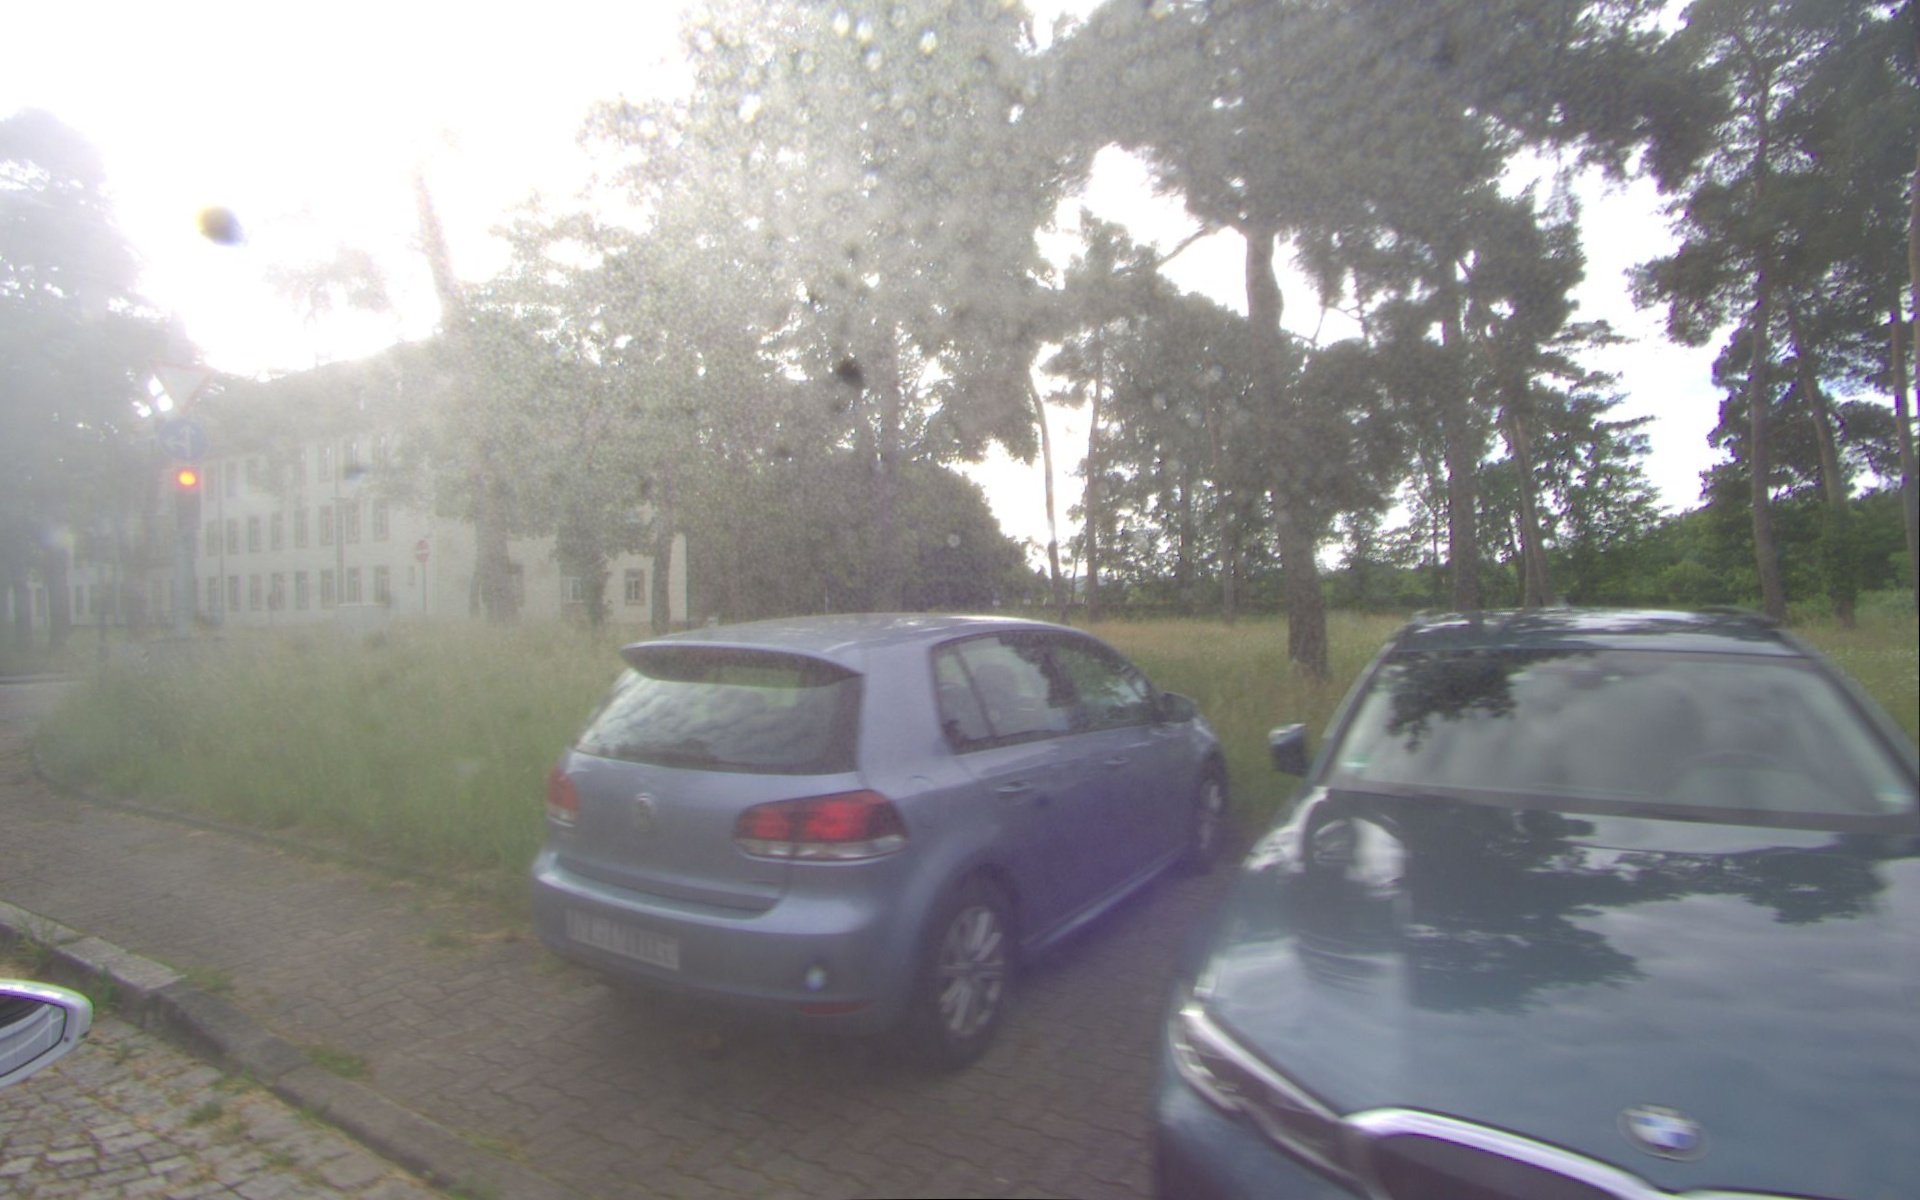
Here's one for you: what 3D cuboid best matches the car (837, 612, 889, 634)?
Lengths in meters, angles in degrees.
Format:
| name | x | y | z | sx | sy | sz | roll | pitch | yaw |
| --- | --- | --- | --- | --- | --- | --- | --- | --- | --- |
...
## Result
| name | x | y | z | sx | sy | sz | roll | pitch | yaw |
| --- | --- | --- | --- | --- | --- | --- | --- | --- | --- |
| car | -6.949 | 1.694 | 72.077 | 1.628 | 1.439 | 3.939 | -1 | -3 | 35 |

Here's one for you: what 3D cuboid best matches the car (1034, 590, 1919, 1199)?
| name | x | y | z | sx | sy | sz | roll | pitch | yaw |
| --- | --- | --- | --- | --- | --- | --- | --- | --- | --- |
| car | 2.098 | 0.738 | 3.337 | 1.843 | 1.436 | 4.672 | -1 | 1 | 30 |

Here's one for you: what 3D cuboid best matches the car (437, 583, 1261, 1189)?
| name | x | y | z | sx | sy | sz | roll | pitch | yaw |
| --- | --- | --- | --- | --- | --- | --- | --- | --- | --- |
| car | -0.020 | 0.706 | 4.610 | 1.620 | 1.497 | 3.915 | 0 | 1 | 34 |
